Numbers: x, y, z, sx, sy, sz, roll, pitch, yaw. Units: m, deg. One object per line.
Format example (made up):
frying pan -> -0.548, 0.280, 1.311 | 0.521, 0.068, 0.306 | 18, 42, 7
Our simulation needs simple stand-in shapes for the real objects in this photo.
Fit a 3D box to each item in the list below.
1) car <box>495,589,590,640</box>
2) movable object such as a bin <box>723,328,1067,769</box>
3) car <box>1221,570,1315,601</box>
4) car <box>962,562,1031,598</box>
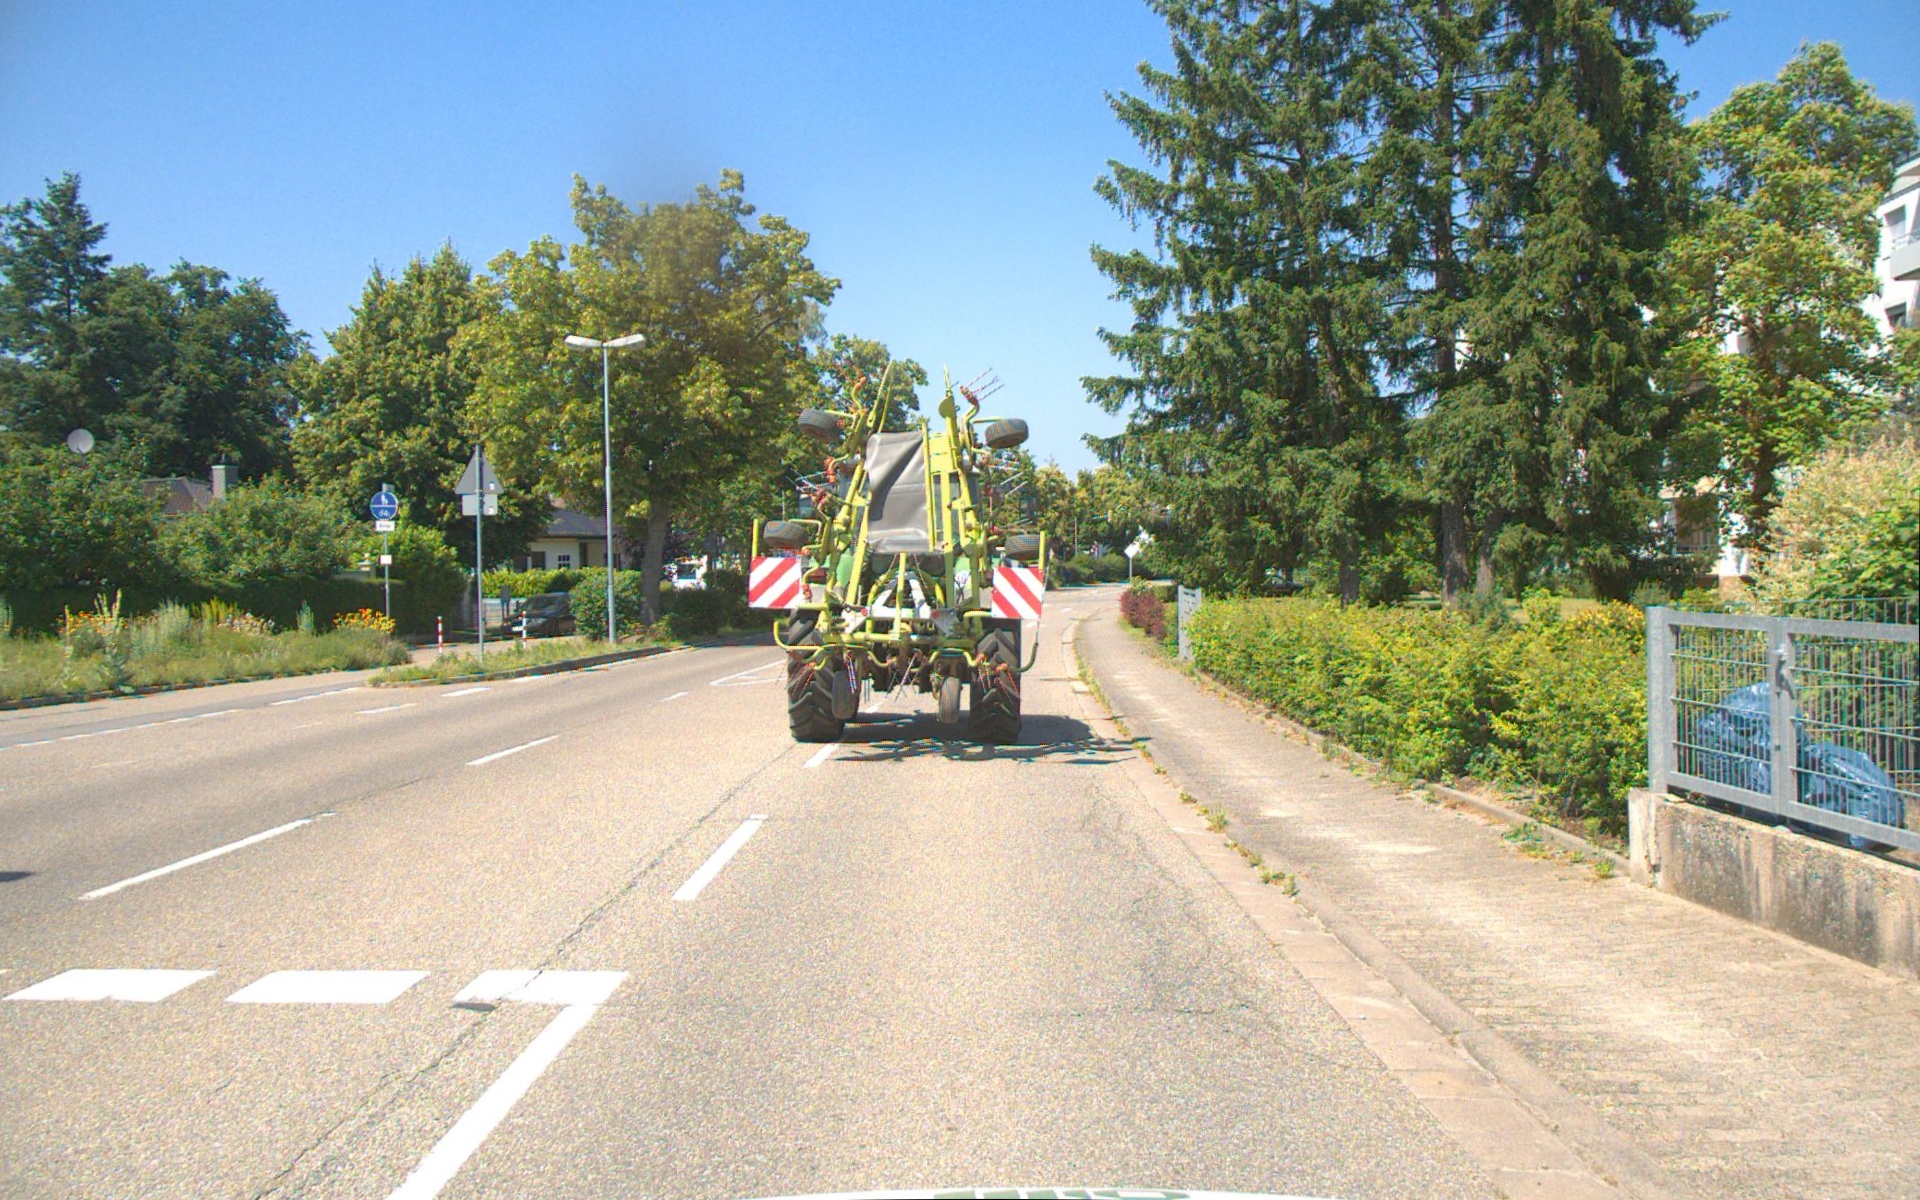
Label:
car -> -13.374, 0.428, 53.203 | 1.652, 1.556, 4.003 | 0, 1, 6
movable object such as a bin -> -0.534, -0.464, 18.504 | 2.794, 3.603, 9.700 | -1, 0, 0
car -> 13.546, -0.651, 72.758 | 3.743, 1.317, 1.679 | 0, 1, -12
car -> 1.866, -1.008, 83.102 | 1.821, 1.745, 3.994 | 0, 0, 28
